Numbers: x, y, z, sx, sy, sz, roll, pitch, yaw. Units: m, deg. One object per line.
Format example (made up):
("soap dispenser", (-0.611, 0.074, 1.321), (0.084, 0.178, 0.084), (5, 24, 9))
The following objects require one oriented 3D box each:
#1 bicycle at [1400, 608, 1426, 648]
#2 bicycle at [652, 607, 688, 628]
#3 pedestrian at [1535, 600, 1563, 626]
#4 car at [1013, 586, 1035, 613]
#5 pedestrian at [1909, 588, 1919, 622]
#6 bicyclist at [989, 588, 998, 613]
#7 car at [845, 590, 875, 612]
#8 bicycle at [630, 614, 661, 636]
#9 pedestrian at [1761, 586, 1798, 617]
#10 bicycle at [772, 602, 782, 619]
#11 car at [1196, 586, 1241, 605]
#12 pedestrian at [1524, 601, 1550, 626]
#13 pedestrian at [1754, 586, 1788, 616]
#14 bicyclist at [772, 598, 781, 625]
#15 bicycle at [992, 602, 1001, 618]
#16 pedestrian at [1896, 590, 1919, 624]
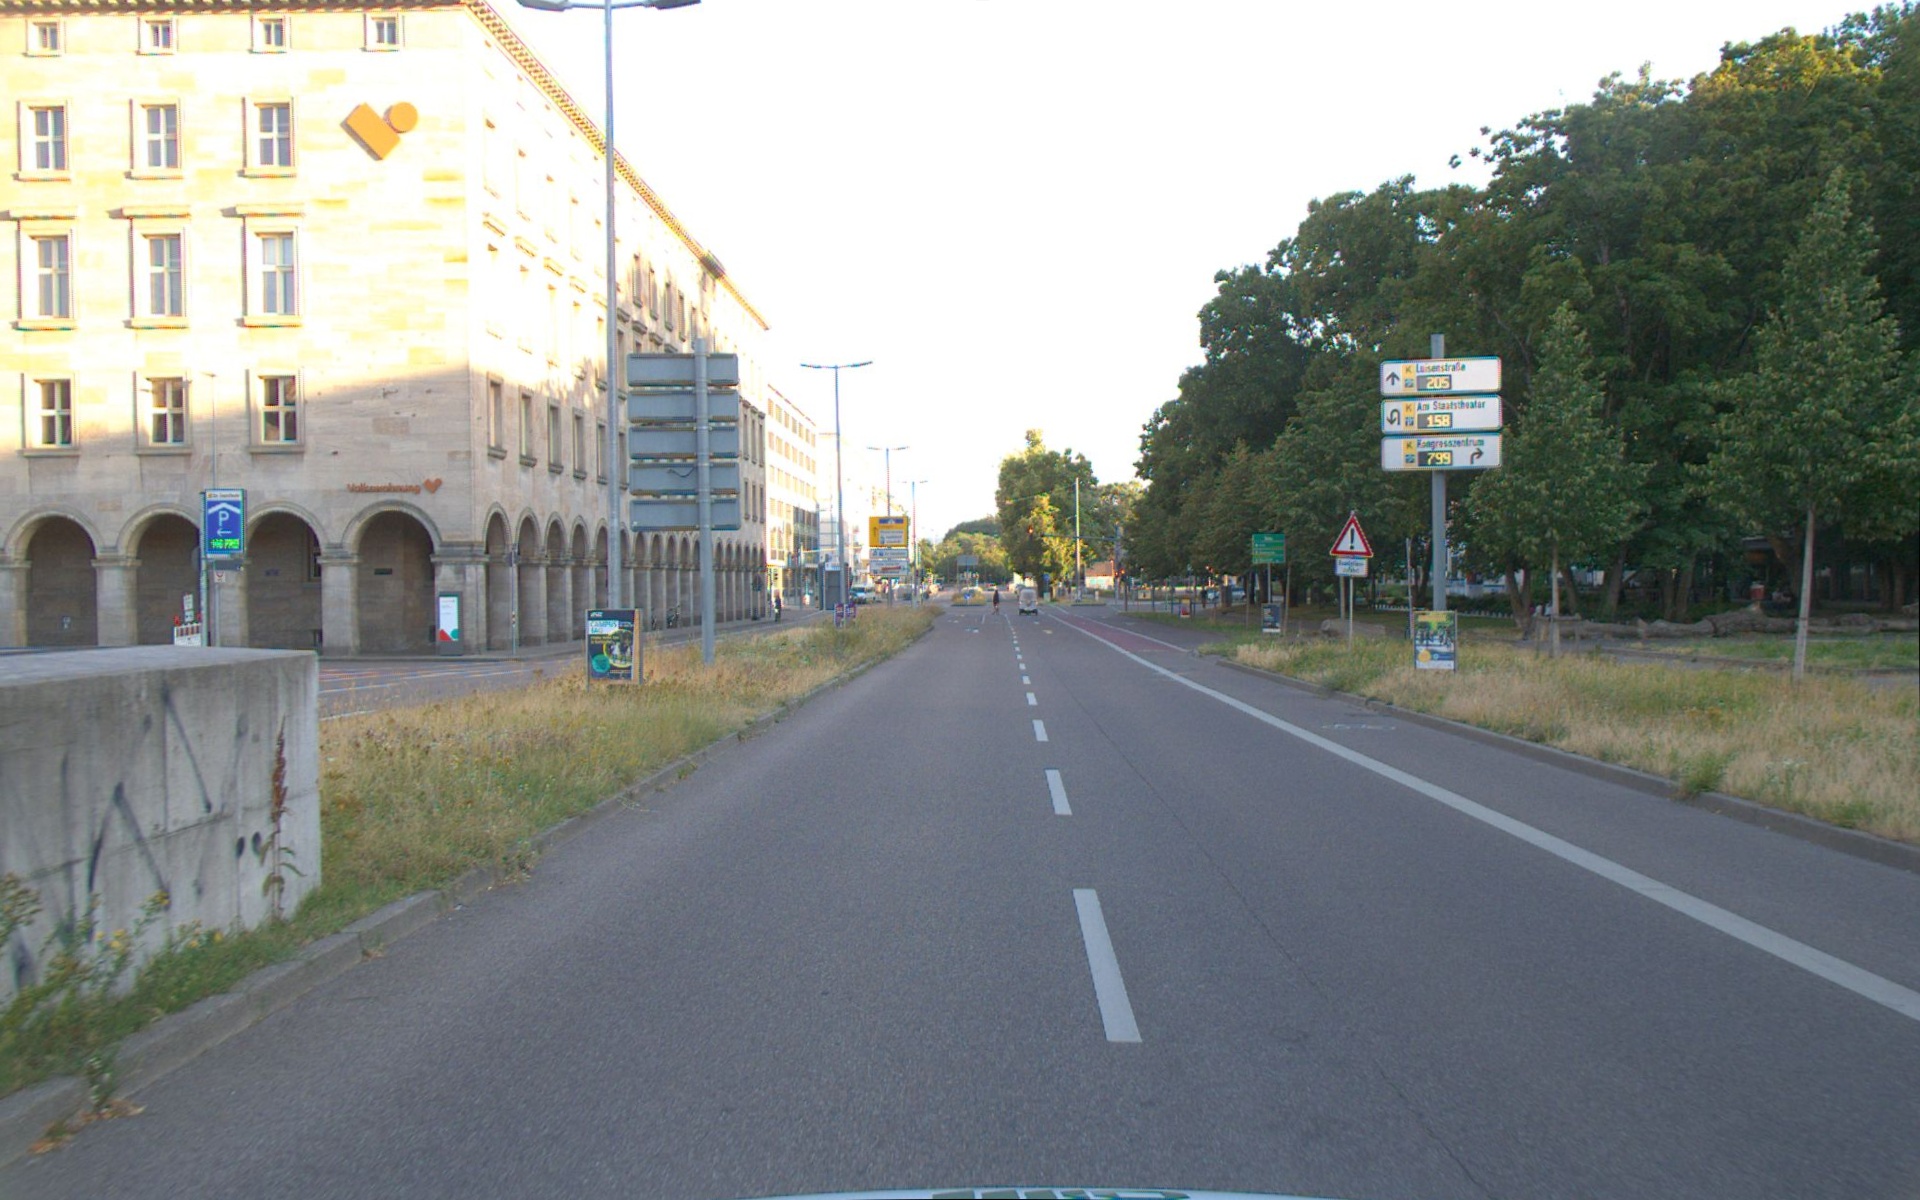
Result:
("bicycle", (12.785, 0.778, 46.610), (0.484, 1.023, 1.899), (-4, 0, 20))
("bicycle", (-14.661, 0.893, 83.615), (0.469, 1.023, 1.997), (-1, 0, 36))
("pedestrian", (20.840, 0.469, 58.535), (0.669, 0.900, 0.619), (-1, 0, -22))
("car", (4.476, -0.034, 115.164), (1.429, 1.812, 2.565), (-1, 0, 3))
("pedestrian", (34.542, 0.176, 59.090), (0.771, 1.184, 0.766), (-1, 0, -5))
("bicyclist", (2.353, 0.063, 115.451), (0.615, 1.723, 0.748), (-1, 0, 0))
("car", (-12.375, 0.157, 204.714), (2.130, 2.427, 5.993), (-2, -2, 12))
("bicycle", (-14.930, 1.187, 78.581), (0.467, 1.023, 2.006), (-1, 0, 19))
("pedestrian", (34.469, 0.059, 69.570), (1.108, 1.282, 0.906), (-1, 0, 3))
("bicycle", (-11.467, 0.658, 103.490), (0.531, 1.023, 2.003), (-1, 0, -4))
("car", (23.693, -0.437, 151.946), (3.903, 1.601, 2.001), (-1, 0, 4))
("pedestrian", (20.624, 0.477, 59.114), (0.670, 0.900, 0.589), (-1, 0, -24))
("pedestrian", (34.581, 0.043, 70.520), (1.108, 1.282, 0.726), (-1, 0, 3))
("bicyclist", (-11.476, 0.721, 103.560), (0.526, 1.723, 0.748), (-1, 0, -4))
("bicycle", (2.533, 0.677, 115.689), (0.624, 1.087, 2.069), (0, 0, 1))
("pedestrian", (34.552, 0.247, 59.954), (0.771, 1.184, 0.766), (-1, 0, -5))
